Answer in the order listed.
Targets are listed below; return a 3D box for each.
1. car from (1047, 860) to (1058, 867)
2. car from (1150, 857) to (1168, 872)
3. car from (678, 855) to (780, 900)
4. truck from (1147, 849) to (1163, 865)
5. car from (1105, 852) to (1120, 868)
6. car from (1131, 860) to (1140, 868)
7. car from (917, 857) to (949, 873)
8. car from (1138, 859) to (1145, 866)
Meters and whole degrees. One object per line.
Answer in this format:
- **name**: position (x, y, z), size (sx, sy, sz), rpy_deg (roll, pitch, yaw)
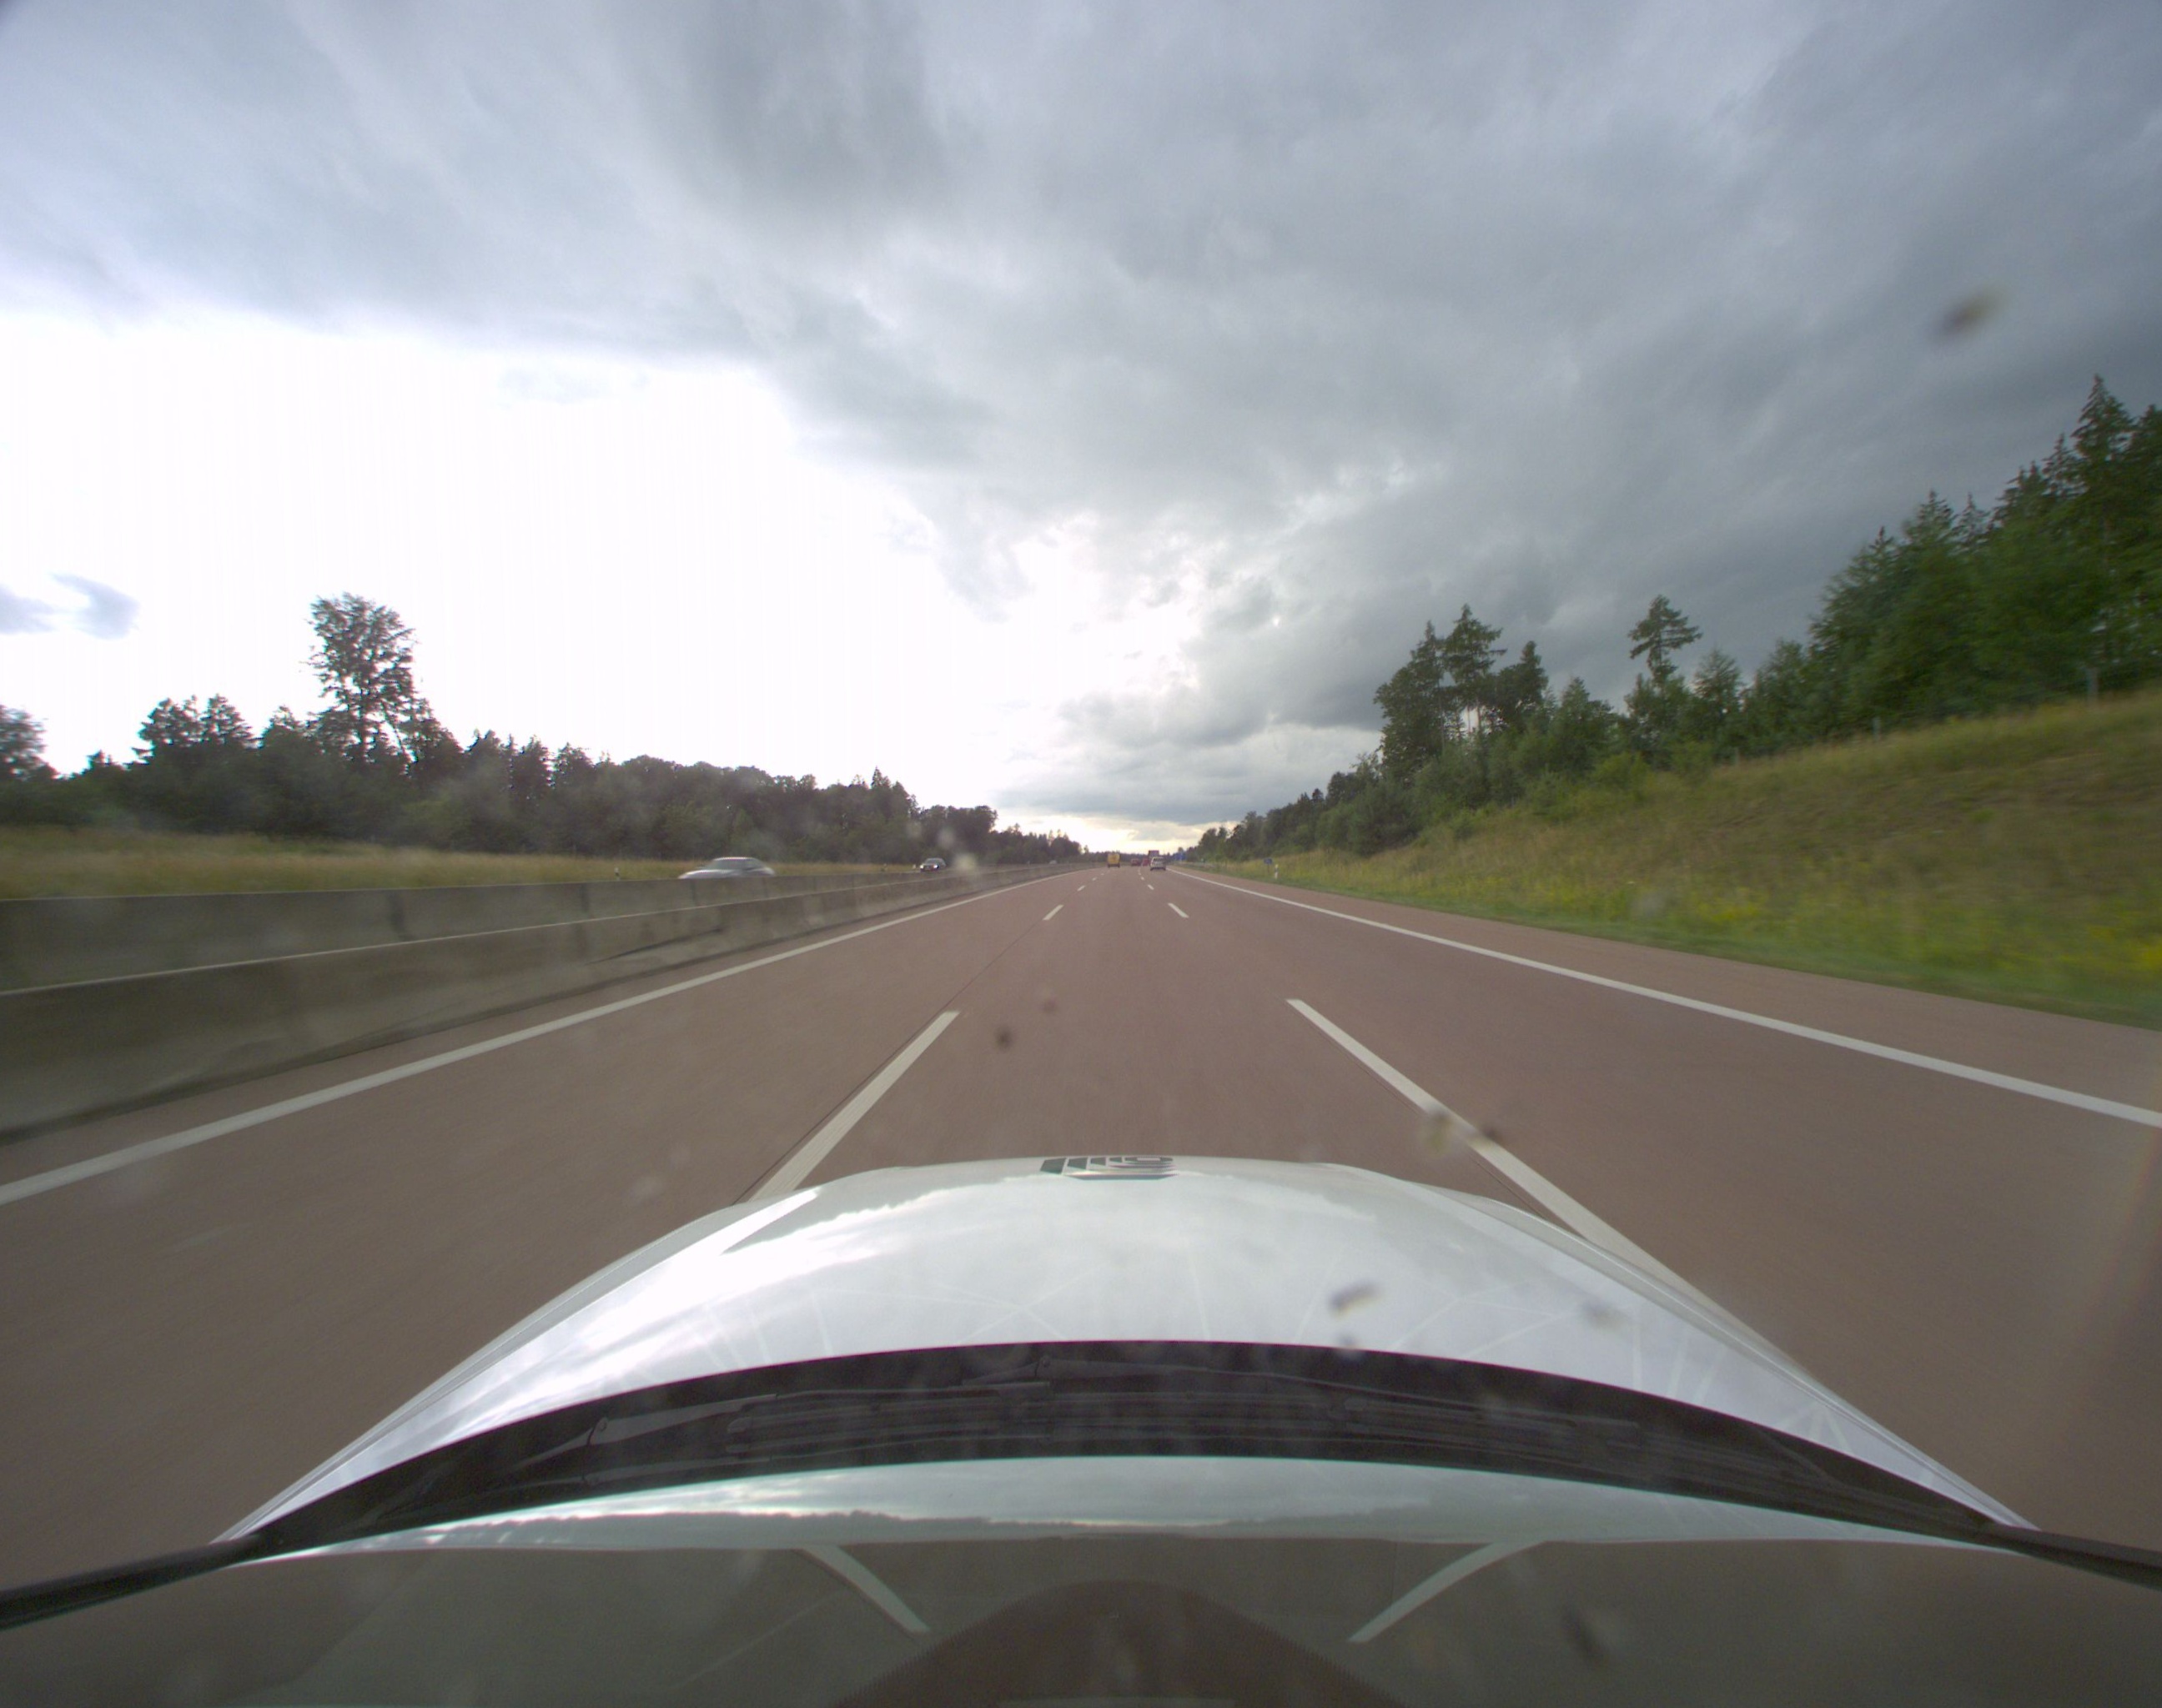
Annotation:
- **car**: position (-7.236, 2.335, 204.310), size (2.206, 1.566, 4.855), rpy_deg (-1, -1, 5)
- **car**: position (9.078, 1.222, 94.727), size (1.968, 1.648, 4.625), rpy_deg (0, 0, 5)
- **car**: position (-12.735, 0.854, 29.766), size (1.725, 1.525, 4.247), rpy_deg (0, -1, 2)
- **truck**: position (19.416, 0.804, 214.521), size (3.664, 3.913, 12.827), rpy_deg (0, -1, 4)
- **car**: position (5.811, 1.137, 148.189), size (2.447, 2.706, 5.620), rpy_deg (-1, -1, 5)
- **car**: position (11.885, 2.170, 177.977), size (1.879, 1.764, 4.786), rpy_deg (-1, -1, 4)
- **car**: position (-14.216, 1.084, 78.338), size (1.921, 1.488, 4.428), rpy_deg (0, -1, 4)
- **car**: position (16.206, 2.195, 219.229), size (1.879, 1.764, 5.002), rpy_deg (-1, -1, 4)
